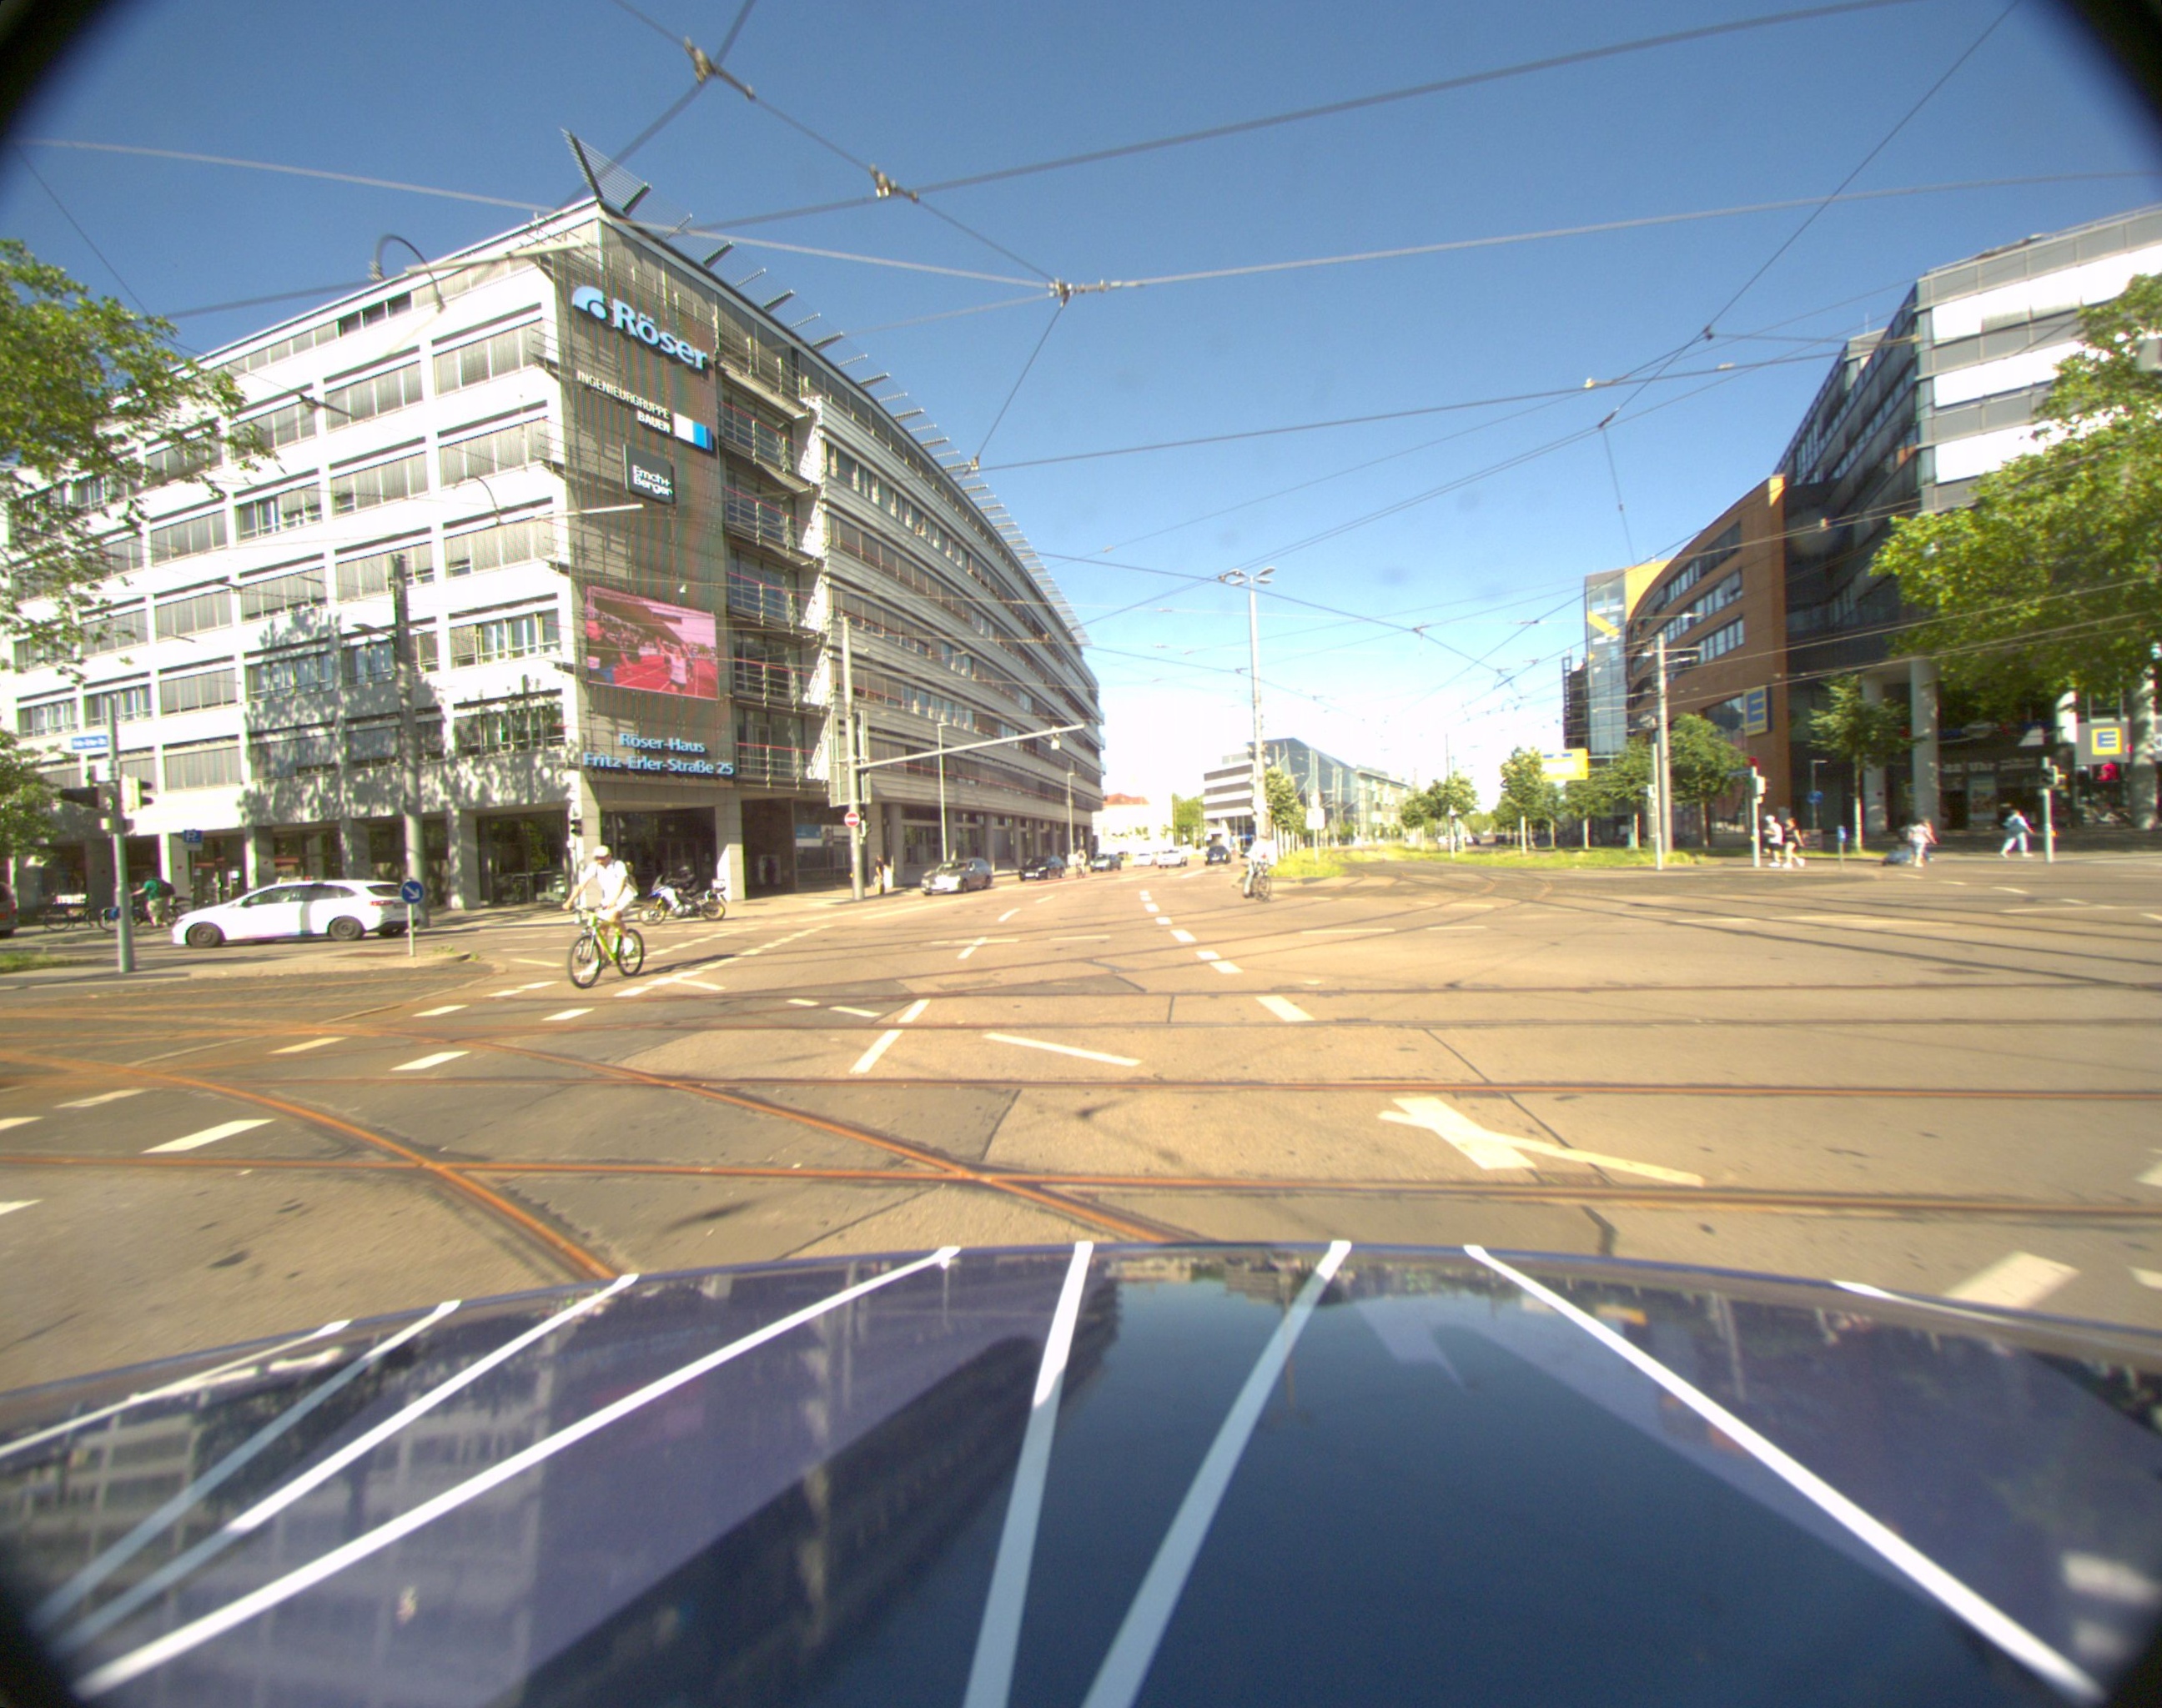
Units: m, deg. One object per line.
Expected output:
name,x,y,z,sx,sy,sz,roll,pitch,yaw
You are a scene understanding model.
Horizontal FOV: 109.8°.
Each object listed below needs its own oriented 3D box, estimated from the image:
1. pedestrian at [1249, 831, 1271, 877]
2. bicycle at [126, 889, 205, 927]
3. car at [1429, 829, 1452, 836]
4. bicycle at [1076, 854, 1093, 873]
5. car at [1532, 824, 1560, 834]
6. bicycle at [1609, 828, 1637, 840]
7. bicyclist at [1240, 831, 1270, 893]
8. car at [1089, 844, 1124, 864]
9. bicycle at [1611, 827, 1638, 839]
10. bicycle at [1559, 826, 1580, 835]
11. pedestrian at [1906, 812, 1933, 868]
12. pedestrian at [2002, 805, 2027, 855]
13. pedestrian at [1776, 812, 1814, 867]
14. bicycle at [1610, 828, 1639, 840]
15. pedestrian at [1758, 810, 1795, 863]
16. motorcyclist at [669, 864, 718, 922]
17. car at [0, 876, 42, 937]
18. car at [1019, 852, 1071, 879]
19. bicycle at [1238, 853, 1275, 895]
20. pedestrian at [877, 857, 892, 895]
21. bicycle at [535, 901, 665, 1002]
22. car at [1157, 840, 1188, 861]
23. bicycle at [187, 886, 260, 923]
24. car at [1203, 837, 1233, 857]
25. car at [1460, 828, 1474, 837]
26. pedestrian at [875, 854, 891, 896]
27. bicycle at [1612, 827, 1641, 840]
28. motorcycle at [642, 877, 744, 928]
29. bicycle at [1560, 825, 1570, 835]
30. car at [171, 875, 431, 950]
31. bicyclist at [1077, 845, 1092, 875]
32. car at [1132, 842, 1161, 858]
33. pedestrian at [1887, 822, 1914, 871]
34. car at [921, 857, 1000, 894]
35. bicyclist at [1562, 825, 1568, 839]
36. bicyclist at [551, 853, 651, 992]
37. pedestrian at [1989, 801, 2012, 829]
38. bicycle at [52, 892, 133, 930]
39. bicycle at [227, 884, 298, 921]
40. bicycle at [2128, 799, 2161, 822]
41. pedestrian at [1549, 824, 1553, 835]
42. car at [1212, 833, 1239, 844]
pedestrian,6.886,-0.001,29.240,0.671,1.743,0.769,-2,1,4
bicycle,-32.834,1.918,27.287,0.468,1.213,1.731,-2,1,11
car,70.243,-4.217,148.569,3.990,1.084,2.003,-2,1,28
bicycle,0.183,0.564,44.866,0.828,1.030,1.891,-4,0,-2
car,100.720,-5.388,164.413,5.259,2.002,2.224,-3,1,-18
bicycle,54.783,-2.047,76.873,2.175,1.117,0.754,-3,1,26
bicyclist,4.829,0.211,21.121,0.619,1.660,1.020,-4,0,7
car,2.114,-0.044,62.498,1.724,1.515,4.404,-2,1,17
bicycle,56.283,-2.153,78.720,2.175,1.117,0.754,-3,1,26
bicycle,61.351,-2.960,95.404,2.175,0.949,0.493,-3,1,26
pedestrian,27.872,-0.472,25.267,0.386,1.820,0.463,-3,1,-15
pedestrian,34.607,-0.890,28.161,0.462,1.820,0.458,-3,1,-22
pedestrian,24.207,-0.499,25.769,0.762,1.820,0.625,-2,1,25
bicycle,53.973,-1.991,75.464,2.175,1.117,0.754,-3,1,26
pedestrian,24.839,-0.617,27.135,0.762,1.820,0.625,-2,1,22
motorcyclist,-11.038,1.109,21.651,0.943,1.552,0.829,-5,2,-44
car,-36.039,1.759,23.986,4.384,1.842,1.821,-2,1,7
car,-2.098,0.677,46.230,1.724,1.414,4.642,-2,1,15
bicycle,4.883,0.527,21.314,0.688,1.063,2.698,-4,0,7
pedestrian,-8.588,0.960,33.221,0.562,1.636,0.428,-1,1,-20
bicycle,-6.383,1.252,10.202,0.651,1.103,1.757,-2,0,-3
car,7.519,-0.307,62.067,1.871,1.621,4.342,-2,1,16
bicycle,-31.437,1.826,27.900,0.468,1.213,1.731,-2,1,11
car,11.157,-0.590,61.653,1.871,1.547,4.004,-2,1,17
car,60.203,-3.360,118.525,1.430,1.352,3.299,-2,1,19
pedestrian,-8.521,0.889,32.670,0.609,1.788,0.639,-1,1,-20
bicycle,53.562,-1.972,74.613,2.175,1.117,0.754,-3,1,26
motorcycle,-11.044,1.348,21.695,2.394,1.194,0.829,-4,1,-44
bicycle,49.871,-2.463,78.291,0.353,0.921,1.896,-2,2,15
car,-19.260,1.393,18.979,4.139,1.574,1.911,-2,0,-11
bicyclist,0.208,0.352,45.252,0.808,1.683,1.051,-4,0,-1
car,6.562,-0.460,75.805,1.775,1.395,4.299,-4,0,19
pedestrian,30.851,-0.271,28.601,0.583,1.820,0.497,-3,1,-22
car,-5.299,0.925,34.034,1.724,1.388,4.792,-3,1,14
bicyclist,49.881,-2.279,78.337,0.341,1.369,0.482,-2,3,15
bicyclist,-6.392,0.869,10.175,0.651,1.742,1.045,-2,0,-4
pedestrian,54.248,-2.323,44.843,0.507,1.615,0.789,-2,2,16
bicycle,-36.210,2.074,27.855,0.468,1.213,1.731,-2,1,11
bicycle,-29.922,1.760,27.823,0.468,1.213,1.731,-2,1,11
bicycle,55.152,-2.221,39.086,0.493,1.128,1.805,-2,1,16
pedestrian,64.932,-3.384,104.980,0.490,1.510,0.650,-2,1,36
car,27.387,-2.895,144.199,4.643,1.970,1.878,-2,1,30
